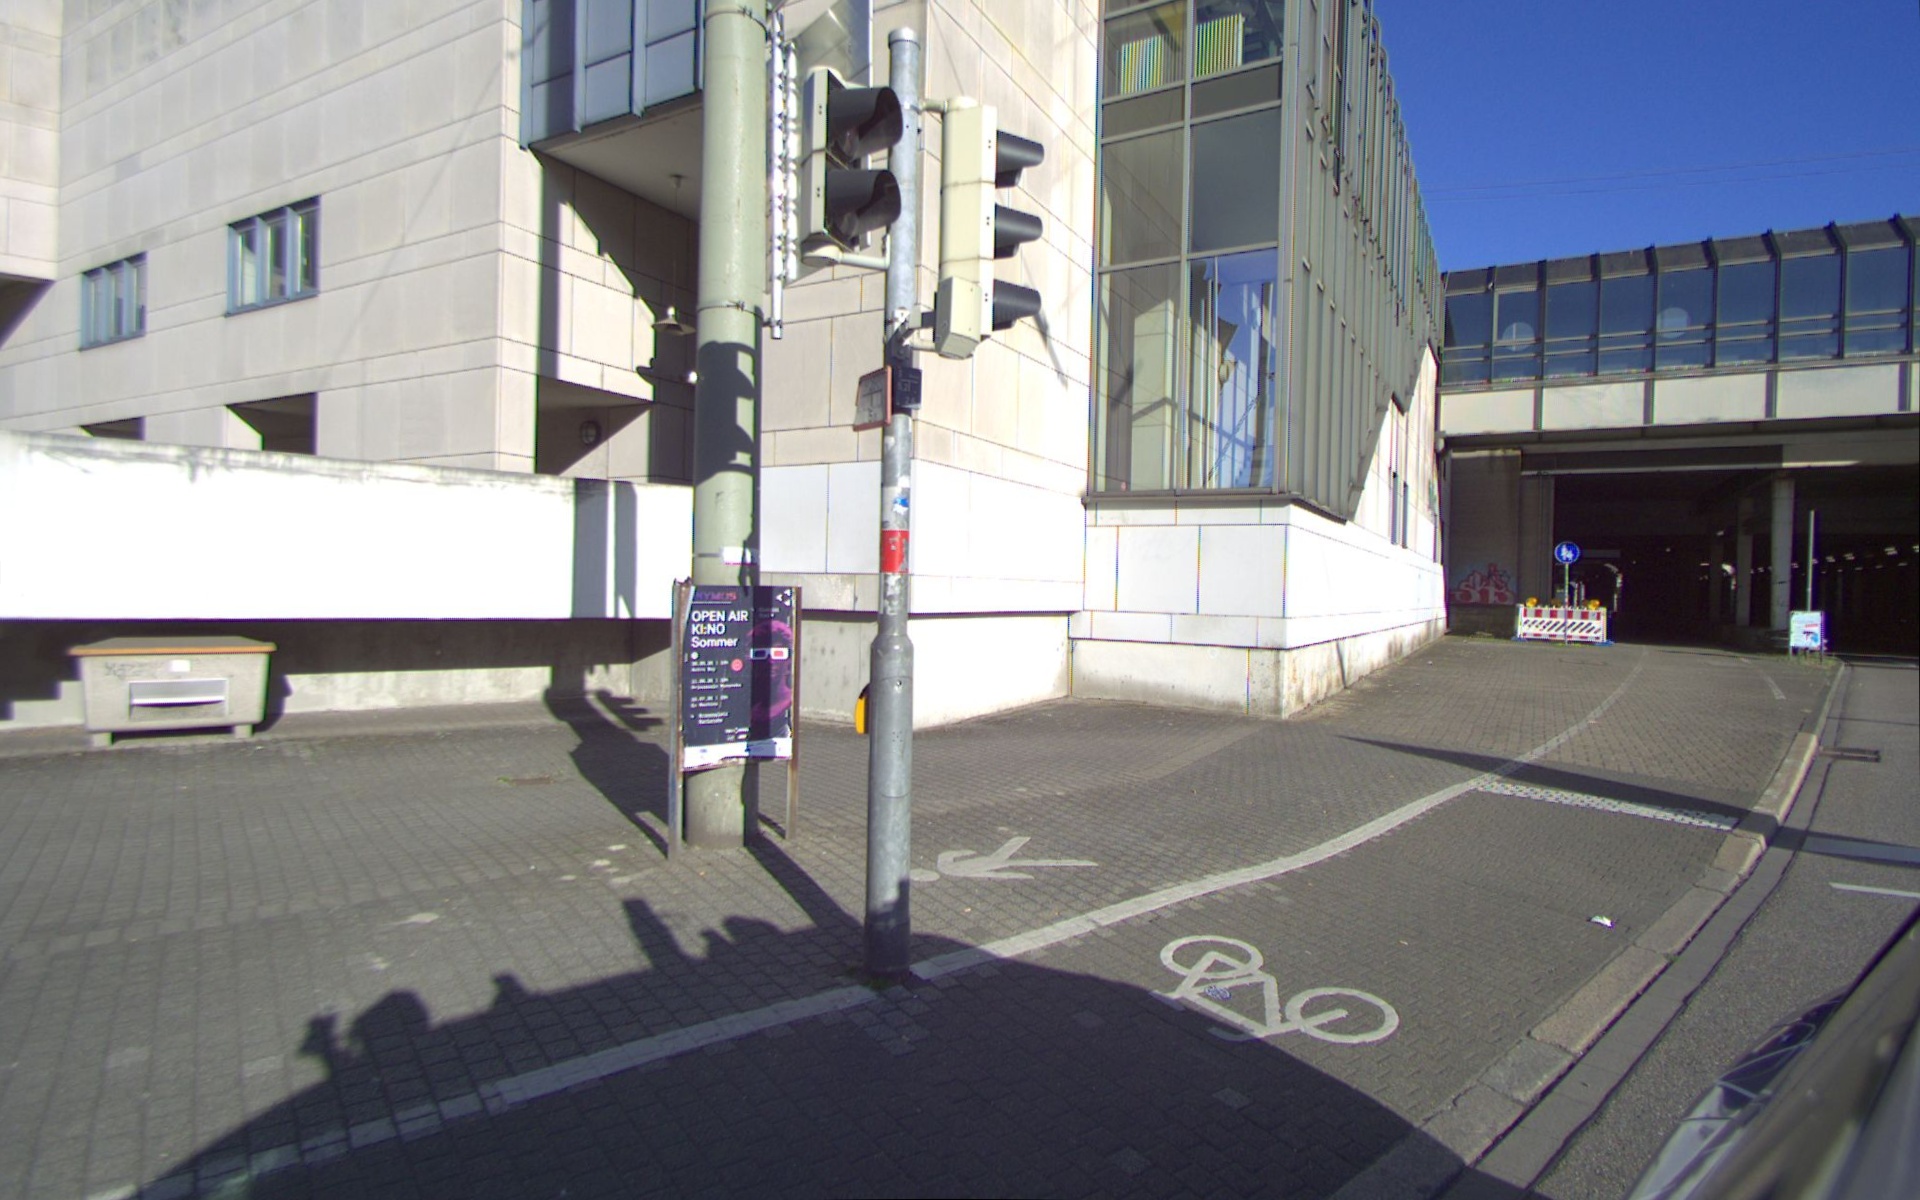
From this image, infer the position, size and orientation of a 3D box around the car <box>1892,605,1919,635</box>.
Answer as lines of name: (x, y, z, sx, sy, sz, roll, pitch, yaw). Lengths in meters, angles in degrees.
car: (47.988, 1.005, 50.181, 1.744, 1.423, 4.365, 1, 0, 31)
